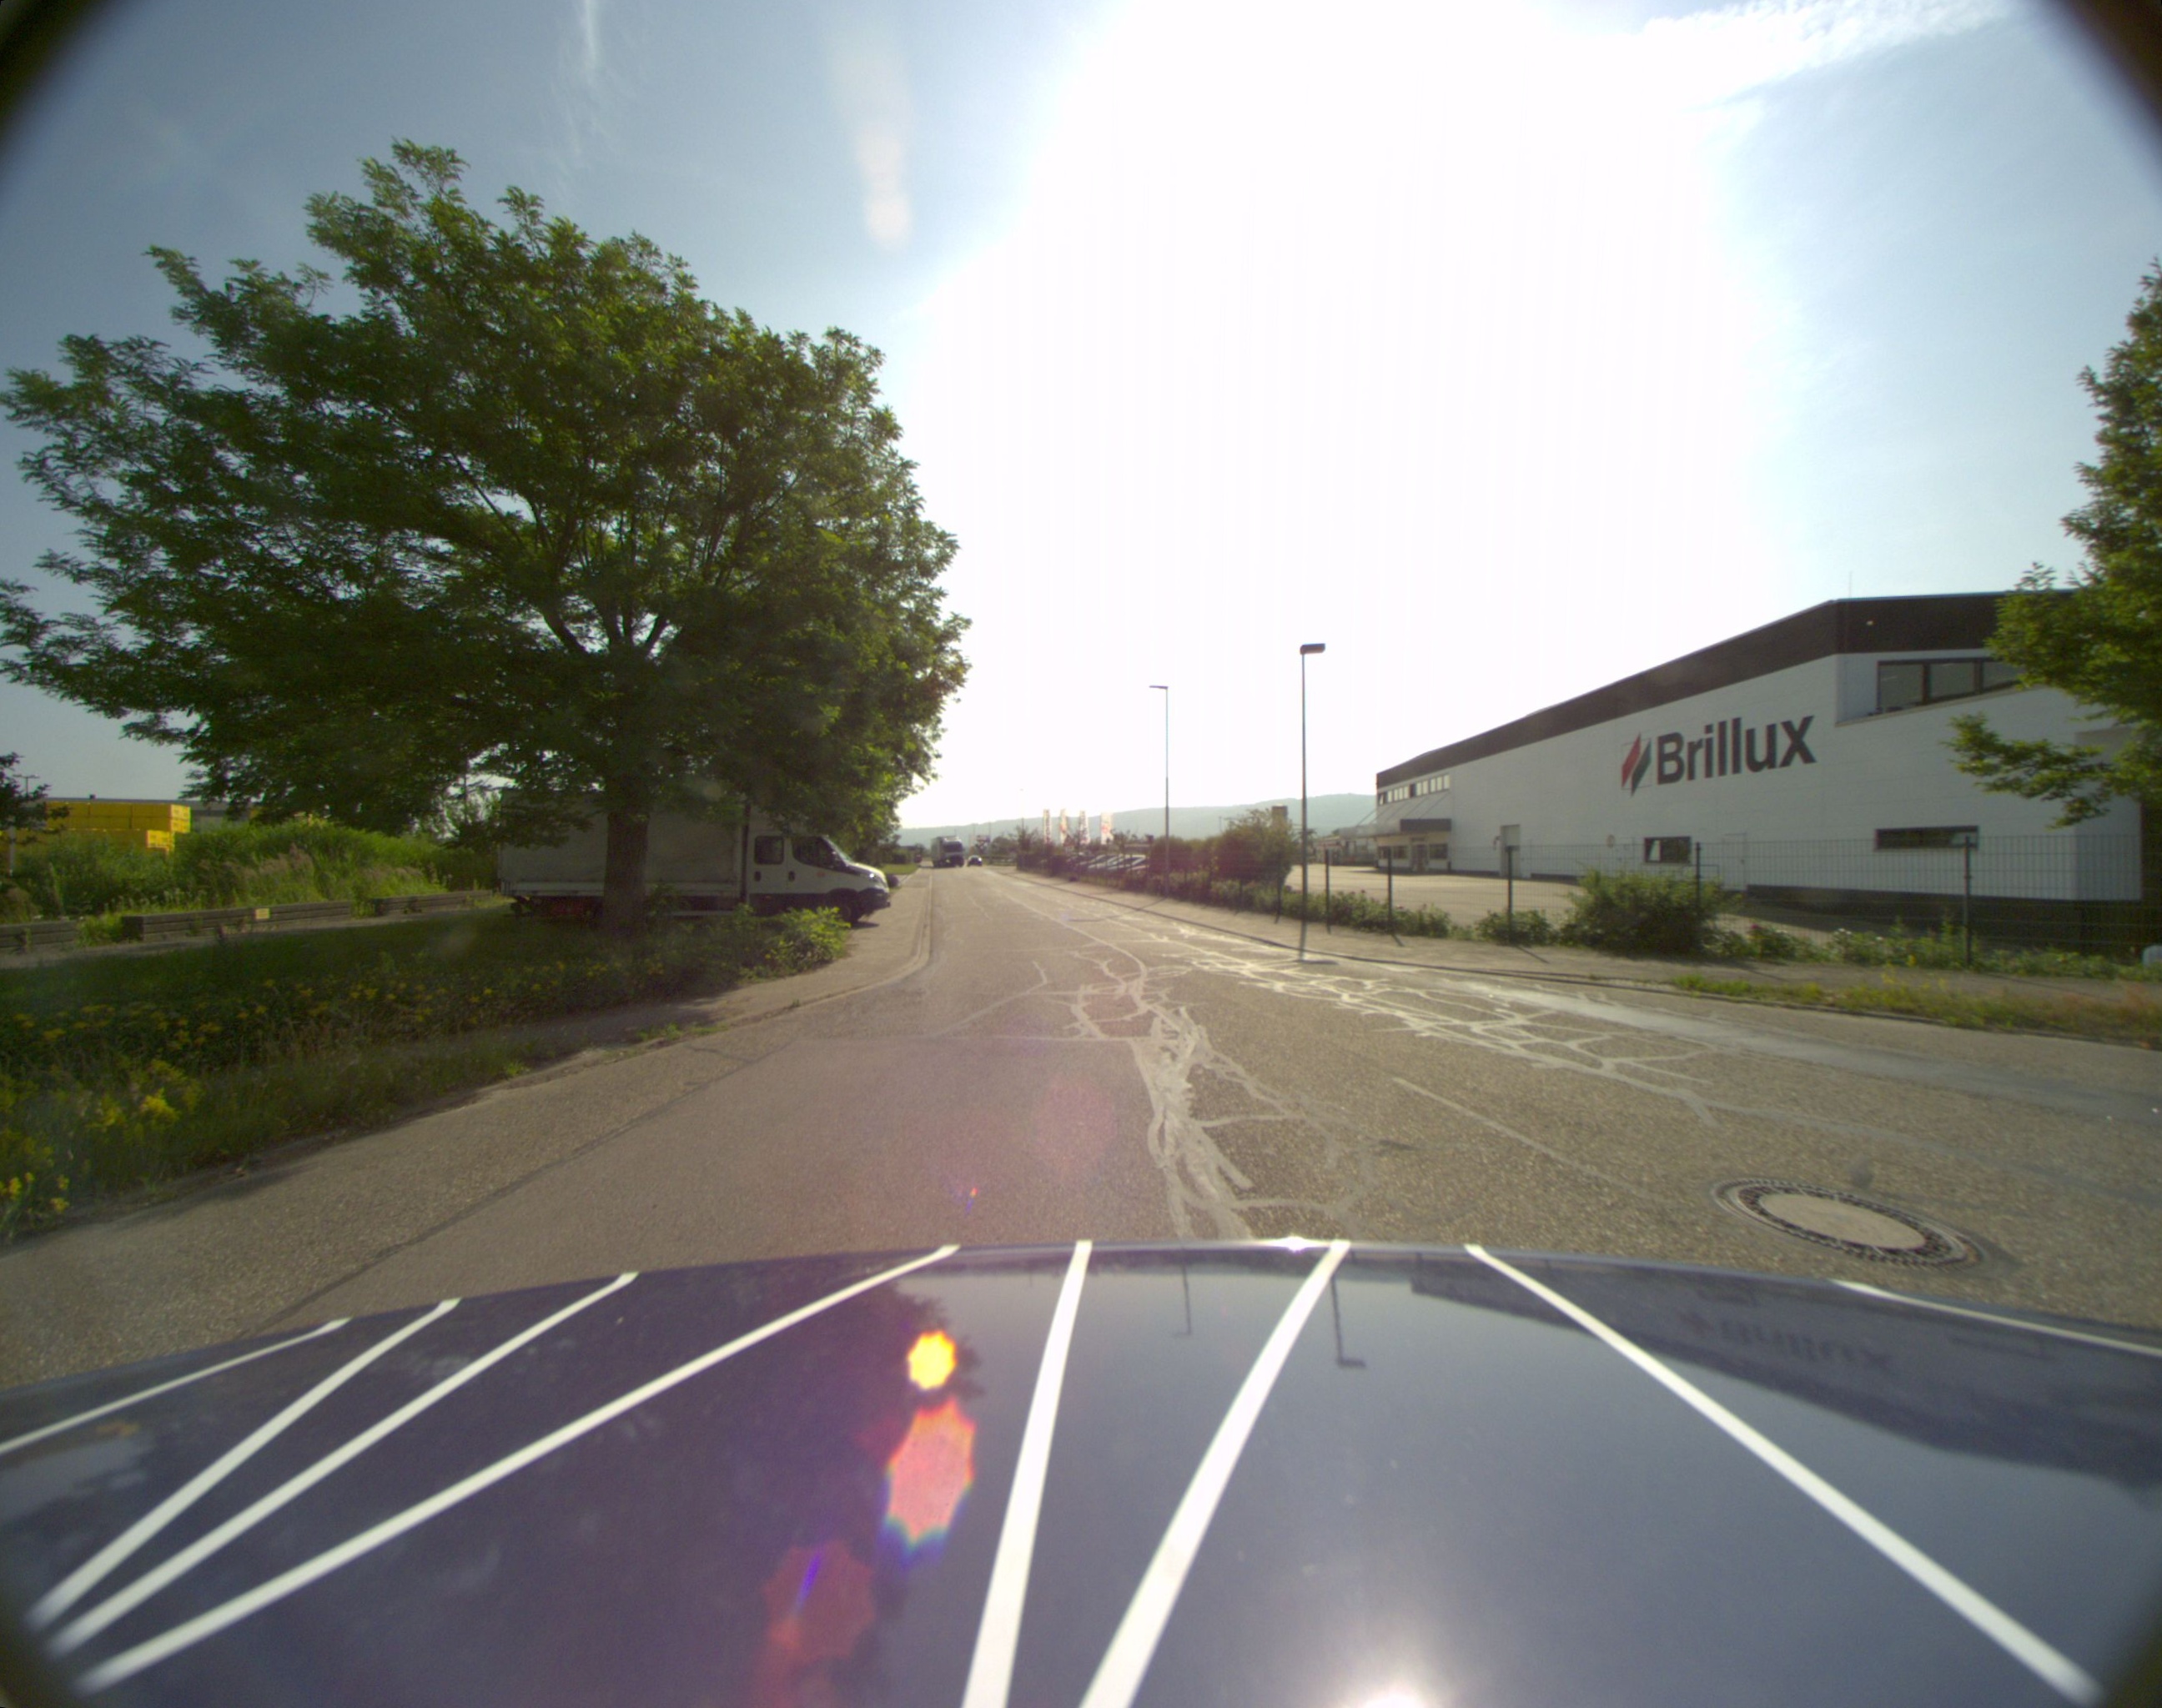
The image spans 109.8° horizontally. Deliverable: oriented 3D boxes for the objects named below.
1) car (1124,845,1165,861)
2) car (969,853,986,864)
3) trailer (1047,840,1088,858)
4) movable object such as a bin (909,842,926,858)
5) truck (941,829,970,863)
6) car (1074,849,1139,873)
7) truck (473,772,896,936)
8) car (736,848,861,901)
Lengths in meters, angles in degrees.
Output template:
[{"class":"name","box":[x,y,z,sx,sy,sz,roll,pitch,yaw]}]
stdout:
[{"class":"car","box":[7.473,-0.131,89.040,4.657,1.742,2.153,0,1,10]},{"class":"car","box":[-14.303,0.581,104.557,2.001,1.441,4.414,1,0,-12]},{"class":"trailer","box":[-2.096,-0.786,119.547,6.321,2.590,2.854,1,1,3]},{"class":"movable object such as a bin","box":[-30.422,-0.757,141.482,2.438,2.994,5.744,0,1,-18]},{"class":"truck","box":[-16.536,-1.151,99.888,3.398,4.184,6.091,-3,2,-11]},{"class":"car","box":[1.757,0.448,52.220,4.142,1.558,1.863,1,1,-12]},{"class":"truck","box":[-8.600,-0.032,17.684,8.238,3.351,2.737,0,2,-12]},{"class":"car","box":[-10.366,0.712,28.184,4.000,1.827,1.998,0,1,-10]}]
